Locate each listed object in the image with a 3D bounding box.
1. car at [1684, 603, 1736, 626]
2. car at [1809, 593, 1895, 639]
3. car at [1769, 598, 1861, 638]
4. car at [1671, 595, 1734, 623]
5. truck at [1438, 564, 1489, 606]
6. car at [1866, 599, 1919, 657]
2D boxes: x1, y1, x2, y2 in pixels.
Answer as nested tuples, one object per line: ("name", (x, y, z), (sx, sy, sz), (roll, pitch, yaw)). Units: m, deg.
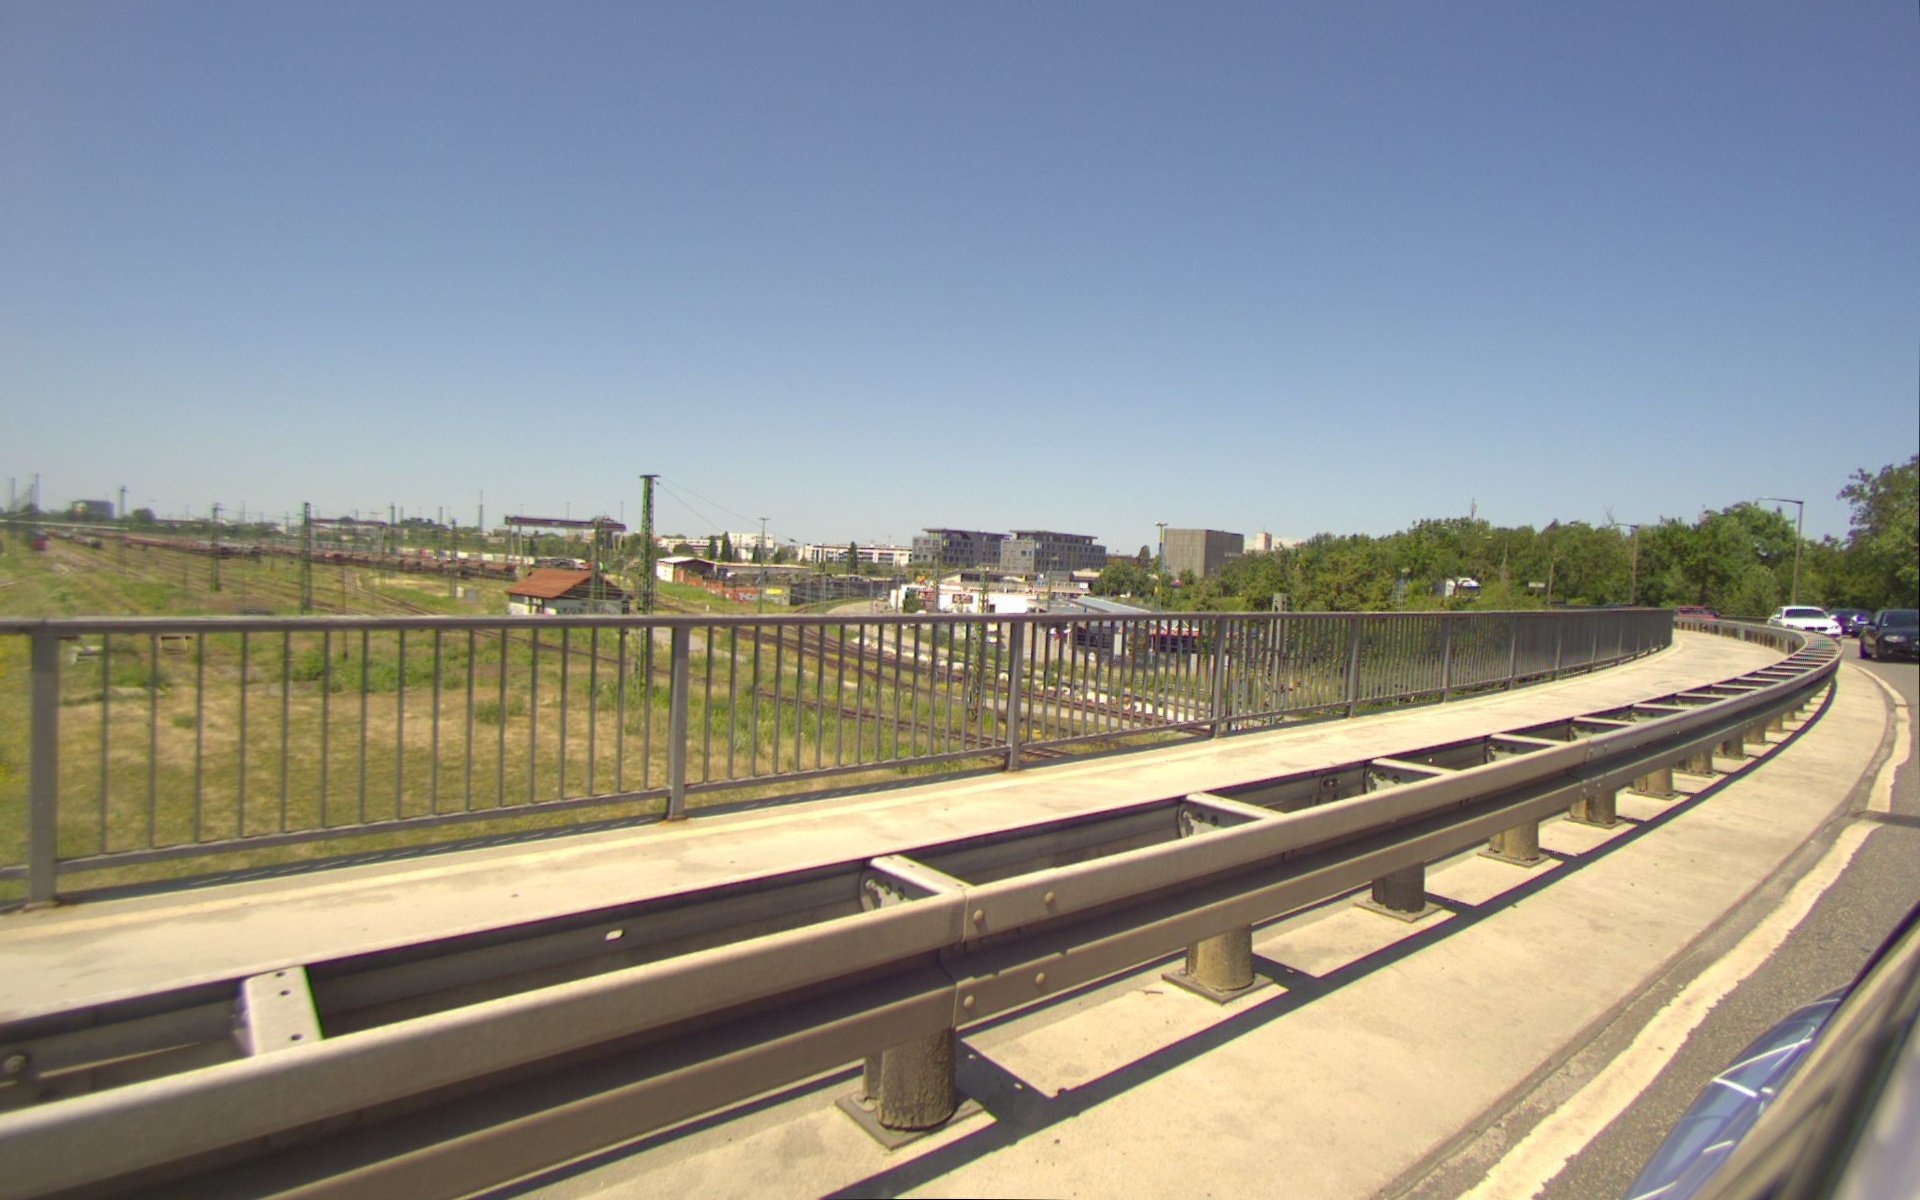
("car", (49.464, 0.914, 66.817), (1.517, 1.447, 3.977), (2, 0, 17))
("car", (41.859, 0.731, 47.599), (1.979, 2.039, 3.964), (0, -1, 25))
("car", (33.680, 0.673, 39.996), (1.778, 1.473, 4.481), (0, 0, 27))
("car", (41.424, 0.469, 56.578), (1.775, 1.473, 4.488), (1, 1, 23))
("truck", (53.692, -1.540, 108.047), (2.650, 4.282, 6.826), (-1, 0, 7))
("car", (25.953, 0.710, 27.278), (1.784, 1.473, 4.465), (0, 0, 35))
